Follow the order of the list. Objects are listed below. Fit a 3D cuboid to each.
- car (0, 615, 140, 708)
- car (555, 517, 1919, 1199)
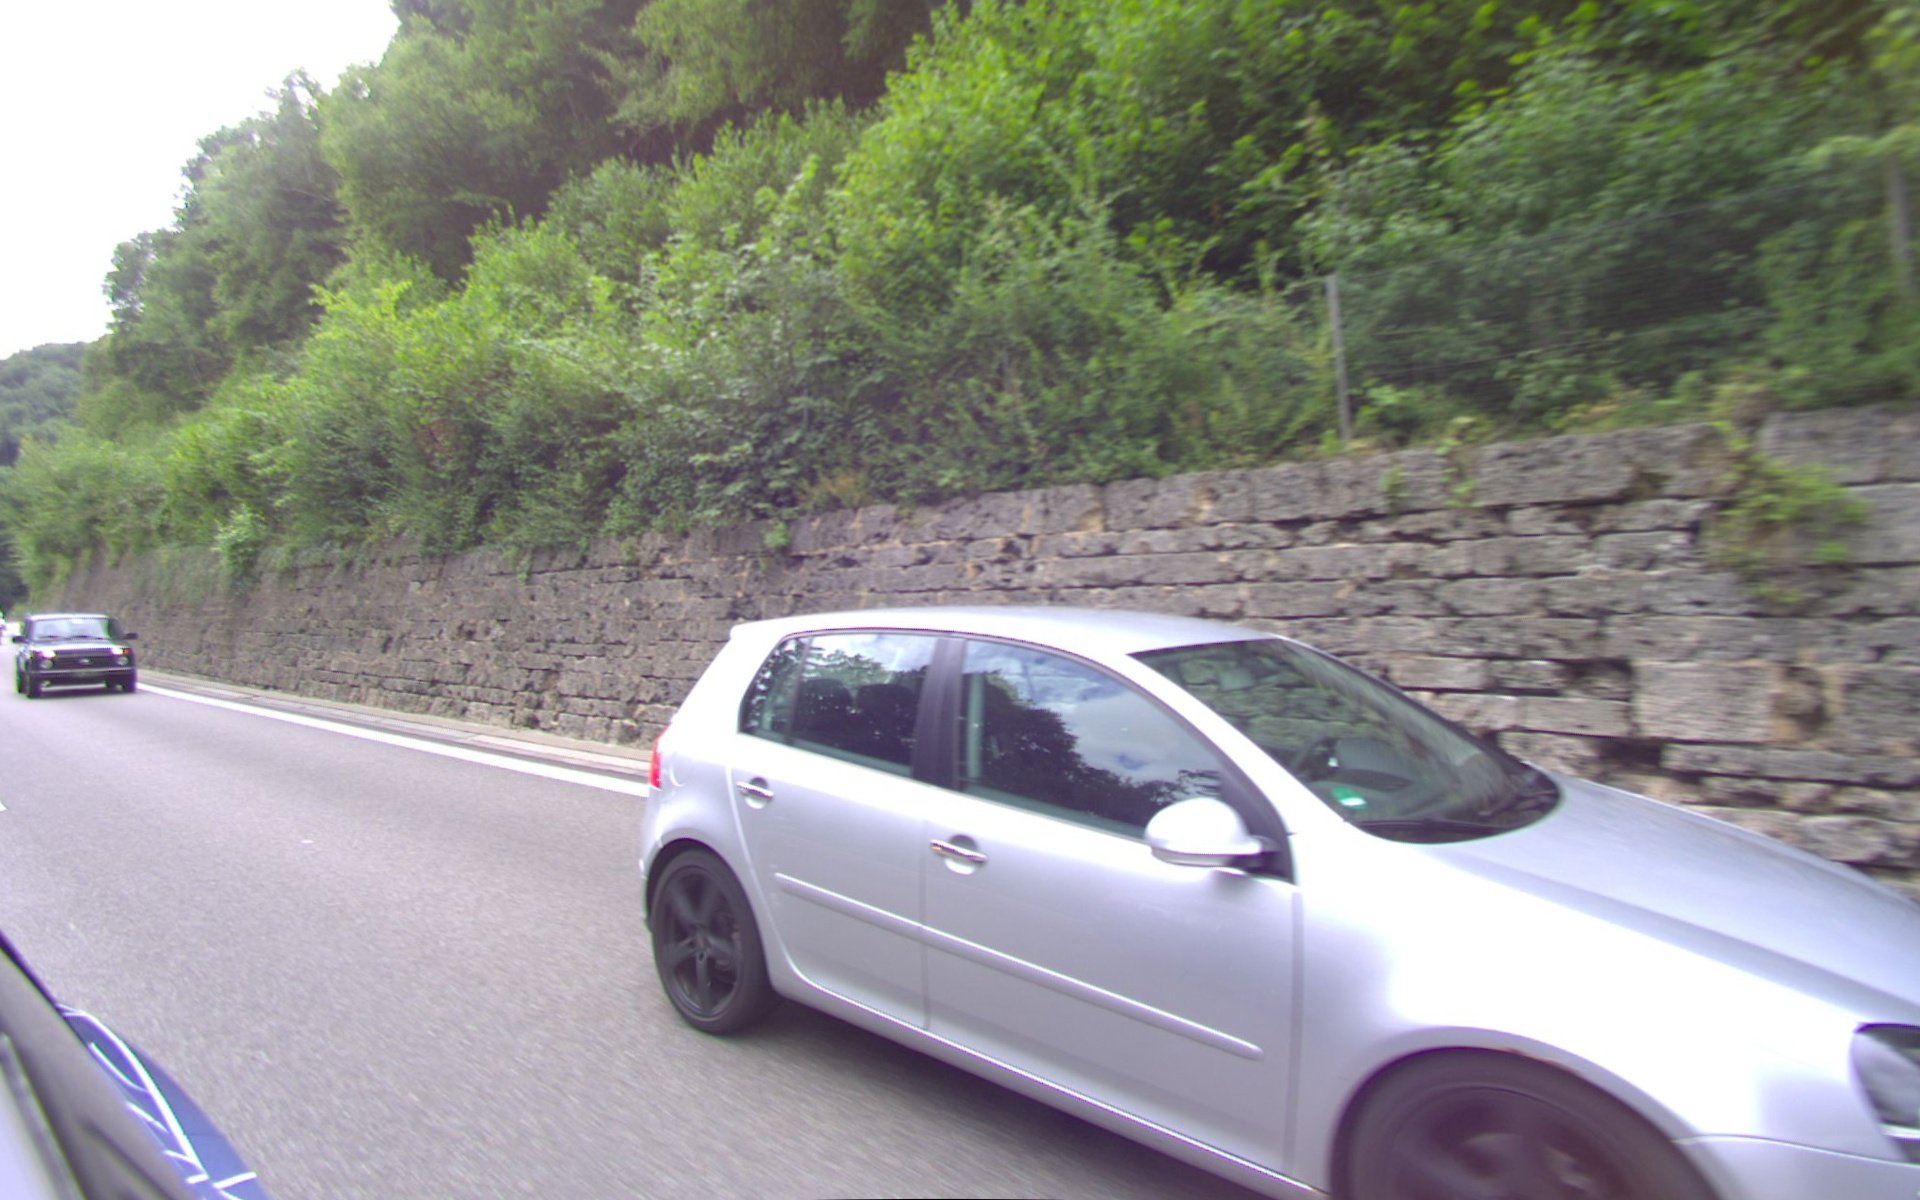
[{"bbox_3d":[-18.491,1.183,20.933,4.584,1.668,1.788,-1,0,44],"label":"car"},{"bbox_3d":[0.692,0.660,3.100,4.581,1.526,1.664,-1,0,41],"label":"car"}]
